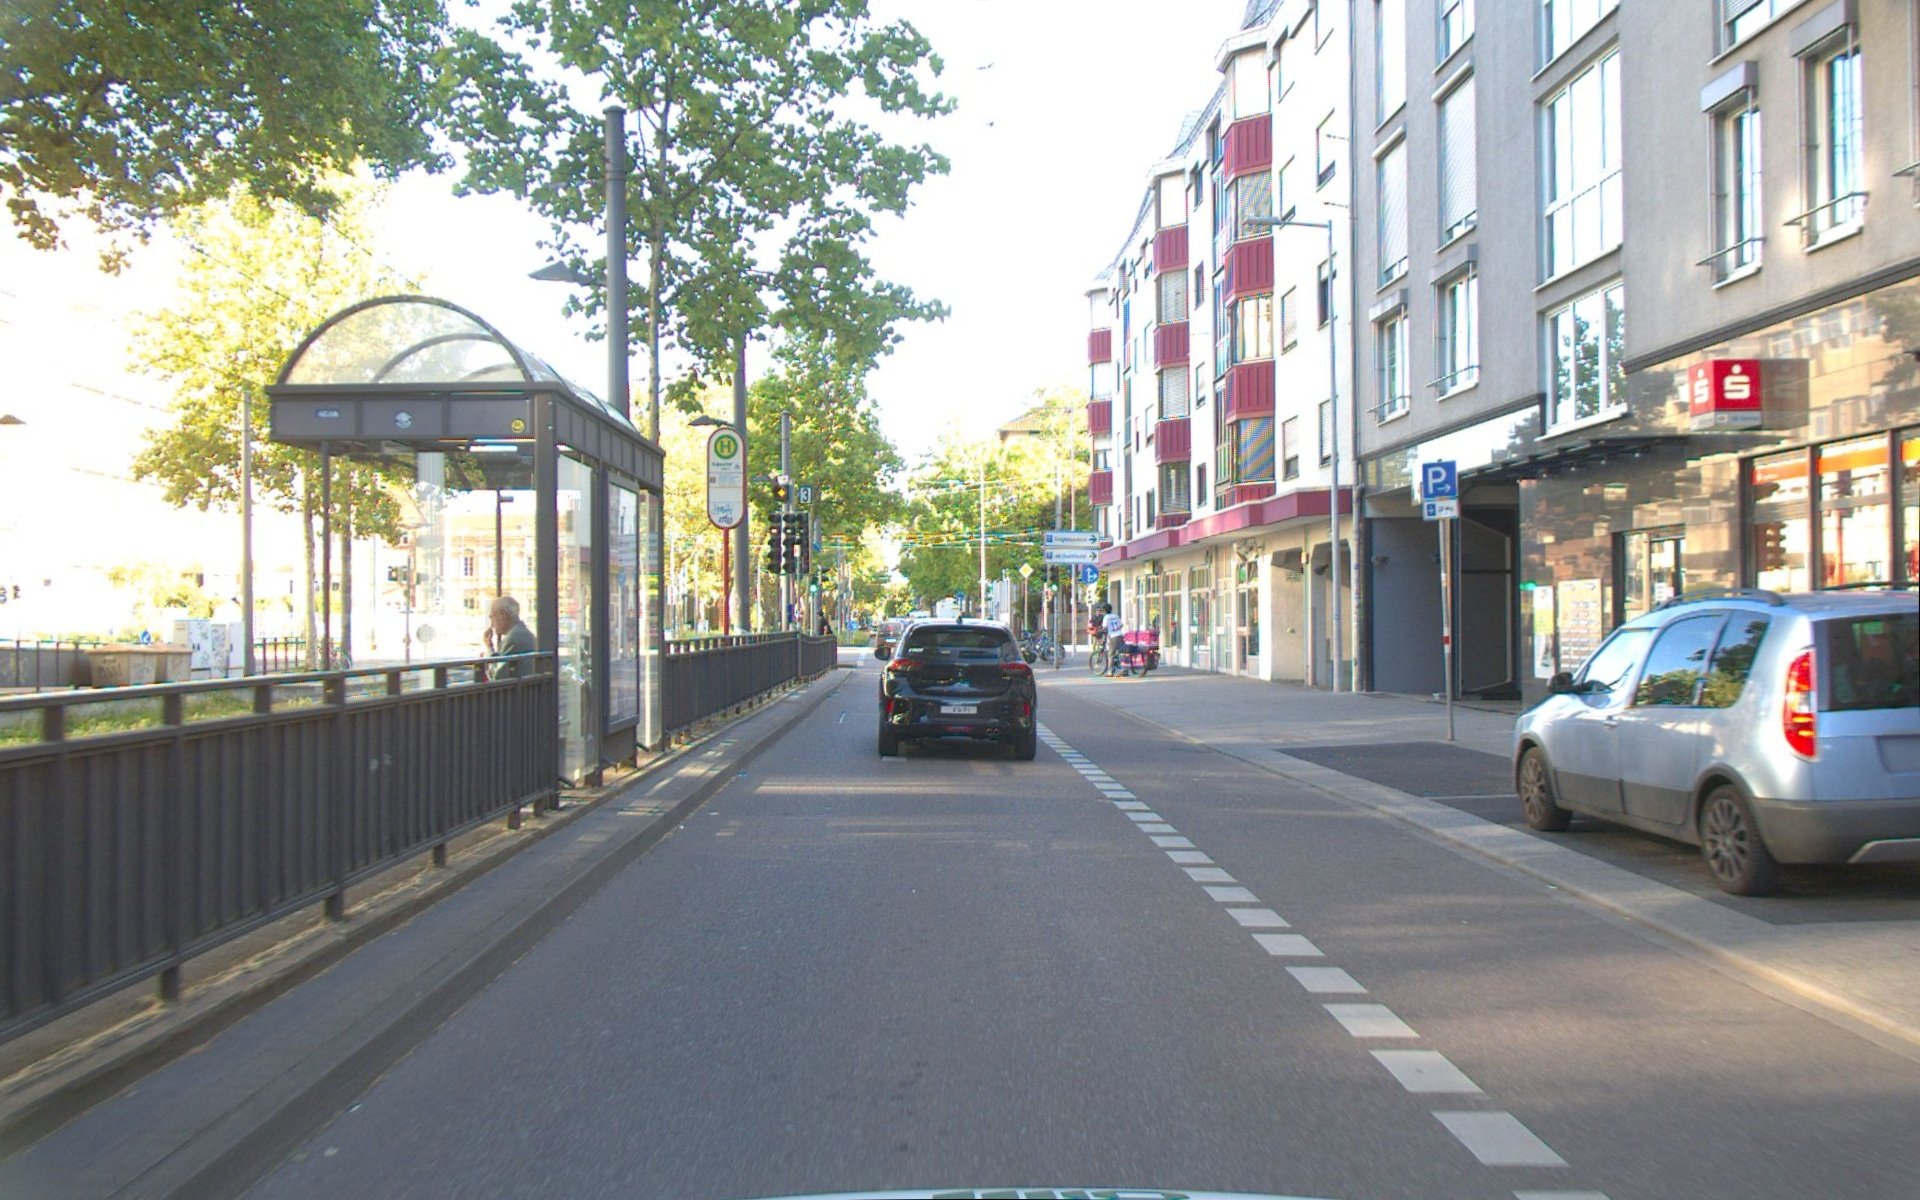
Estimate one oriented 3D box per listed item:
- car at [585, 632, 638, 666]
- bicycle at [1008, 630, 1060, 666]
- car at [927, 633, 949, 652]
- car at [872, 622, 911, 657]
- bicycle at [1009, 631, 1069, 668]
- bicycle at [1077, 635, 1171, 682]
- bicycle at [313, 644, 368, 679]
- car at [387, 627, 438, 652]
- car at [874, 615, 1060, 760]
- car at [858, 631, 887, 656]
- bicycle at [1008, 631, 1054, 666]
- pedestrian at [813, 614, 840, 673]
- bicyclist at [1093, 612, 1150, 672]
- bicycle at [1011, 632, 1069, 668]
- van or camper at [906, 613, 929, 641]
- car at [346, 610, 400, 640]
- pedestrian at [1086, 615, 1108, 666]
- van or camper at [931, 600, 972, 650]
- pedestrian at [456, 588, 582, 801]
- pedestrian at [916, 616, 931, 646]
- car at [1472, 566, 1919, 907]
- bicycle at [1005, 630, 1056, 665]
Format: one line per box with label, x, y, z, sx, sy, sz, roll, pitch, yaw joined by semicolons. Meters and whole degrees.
car;-20.911;2.932;99.350;1.951;1.982;4.426;0;-1;4
bicycle;2.550;1.660;57.000;1.793;1.242;0.496;0;-1;1
car;-1.878;3.596;139.312;1.754;1.537;3.872;-2;-1;-2
car;-3.452;1.994;84.090;1.795;1.651;4.283;2;-1;-1
bicycle;2.673;1.677;56.130;1.939;1.220;0.590;0;-2;-7
bicycle;4.319;1.537;43.768;0.954;1.204;2.561;1;-2;-39
bicycle;-17.377;1.714;46.416;0.796;0.963;1.726;0;-1;4
car;-38.345;2.763;115.863;1.952;1.733;4.379;-1;-1;2
car;0.023;0.919;18.719;1.866;1.450;4.214;0;-1;-1
car;-6.139;3.048;116.334;1.954;1.656;4.467;2;-1;-3
bicycle;2.484;1.686;57.570;1.589;1.220;0.496;-1;-2;2
pedestrian;-4.006;1.299;49.651;0.719;1.777;0.712;0;-1;3
bicyclist;4.279;1.100;43.821;1.050;1.567;1.064;1;-2;-39
bicycle;2.679;1.674;55.515;1.902;1.191;0.571;0;-2;-5
van or camper;-4.752;3.021;185.983;2.436;3.046;5.432;2;-2;-1
car;-41.244;1.751;116.387;1.952;2.049;4.726;-1;-1;2
pedestrian;5.100;1.526;61.786;0.708;1.890;0.800;0;-2;-3
van or camper;-0.625;1.717;112.587;2.328;3.180;7.545;-3;-1;-3
pedestrian;-2.881;0.602;10.860;0.613;1.342;0.801;0;-1;-1
pedestrian;-2.516;2.104;113.502;1.015;2.060;1.211;0;-2;-3
car;4.856;0.699;10.386;1.796;1.651;4.283;-3;-1;-1
bicycle;2.489;1.668;58.324;1.764;1.221;0.546;-1;-3;2
